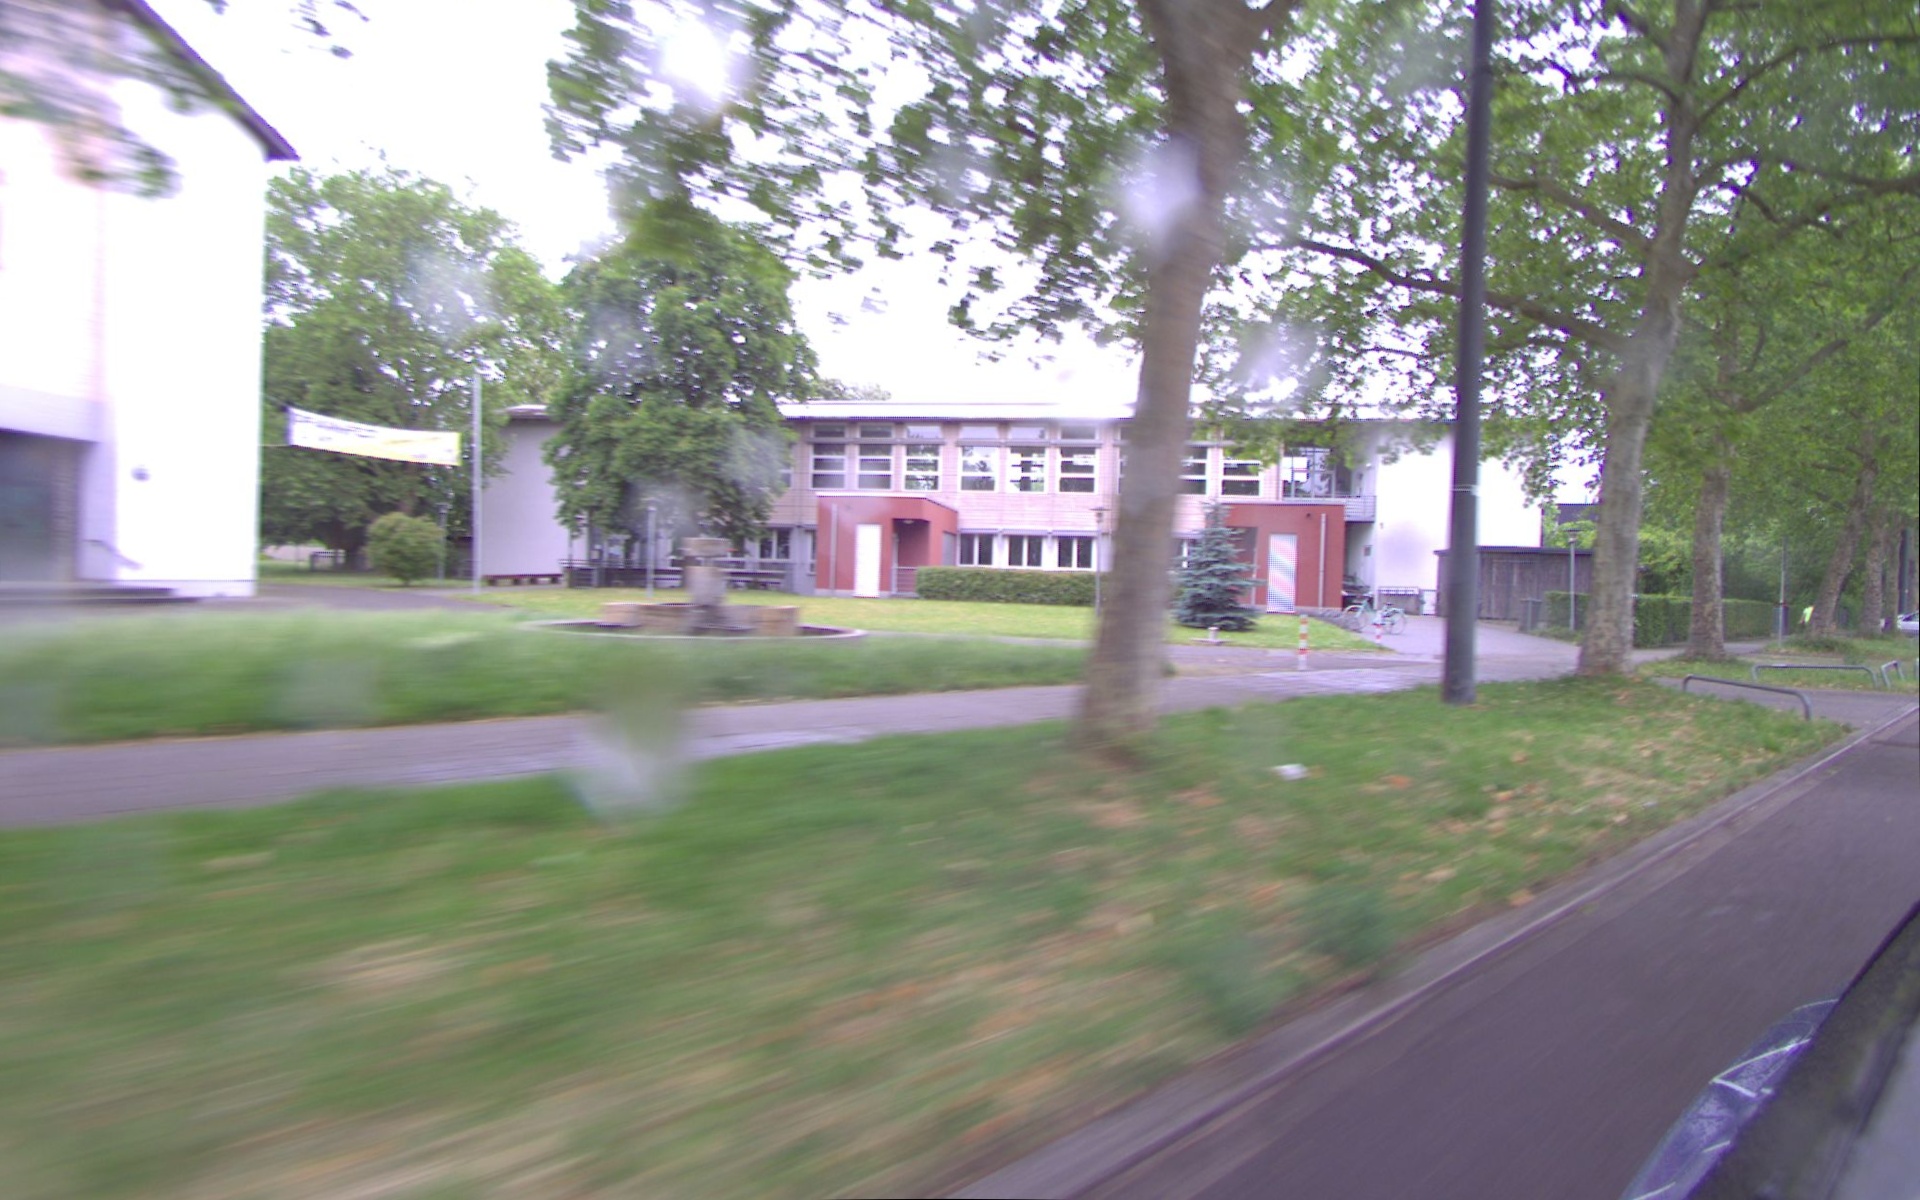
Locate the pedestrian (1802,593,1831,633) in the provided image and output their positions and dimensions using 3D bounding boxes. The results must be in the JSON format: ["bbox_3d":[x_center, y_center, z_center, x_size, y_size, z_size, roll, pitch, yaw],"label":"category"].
[{"bbox_3d":[34.517,0.523,40.780,0.575,1.557,0.747,1,2,-42],"label":"pedestrian"}]

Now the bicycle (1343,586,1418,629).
[{"bbox_3d":[12.244,0.220,29.490,1.902,1.135,0.521,3,3,2],"label":"bicycle"}]

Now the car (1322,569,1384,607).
[{"bbox_3d":[16.019,-0.519,41.423,1.722,1.469,3.572,1,1,11],"label":"car"}]

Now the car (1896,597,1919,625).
[{"bbox_3d":[53.410,0.673,54.566,3.983,1.505,1.622,3,2,30],"label":"car"}]

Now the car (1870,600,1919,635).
[{"bbox_3d":[45.192,0.861,47.043,3.983,1.505,1.622,3,2,30],"label":"car"}]

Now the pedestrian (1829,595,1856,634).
[{"bbox_3d":[36.357,0.590,41.696,0.744,1.557,0.578,3,1,37],"label":"pedestrian"}]
